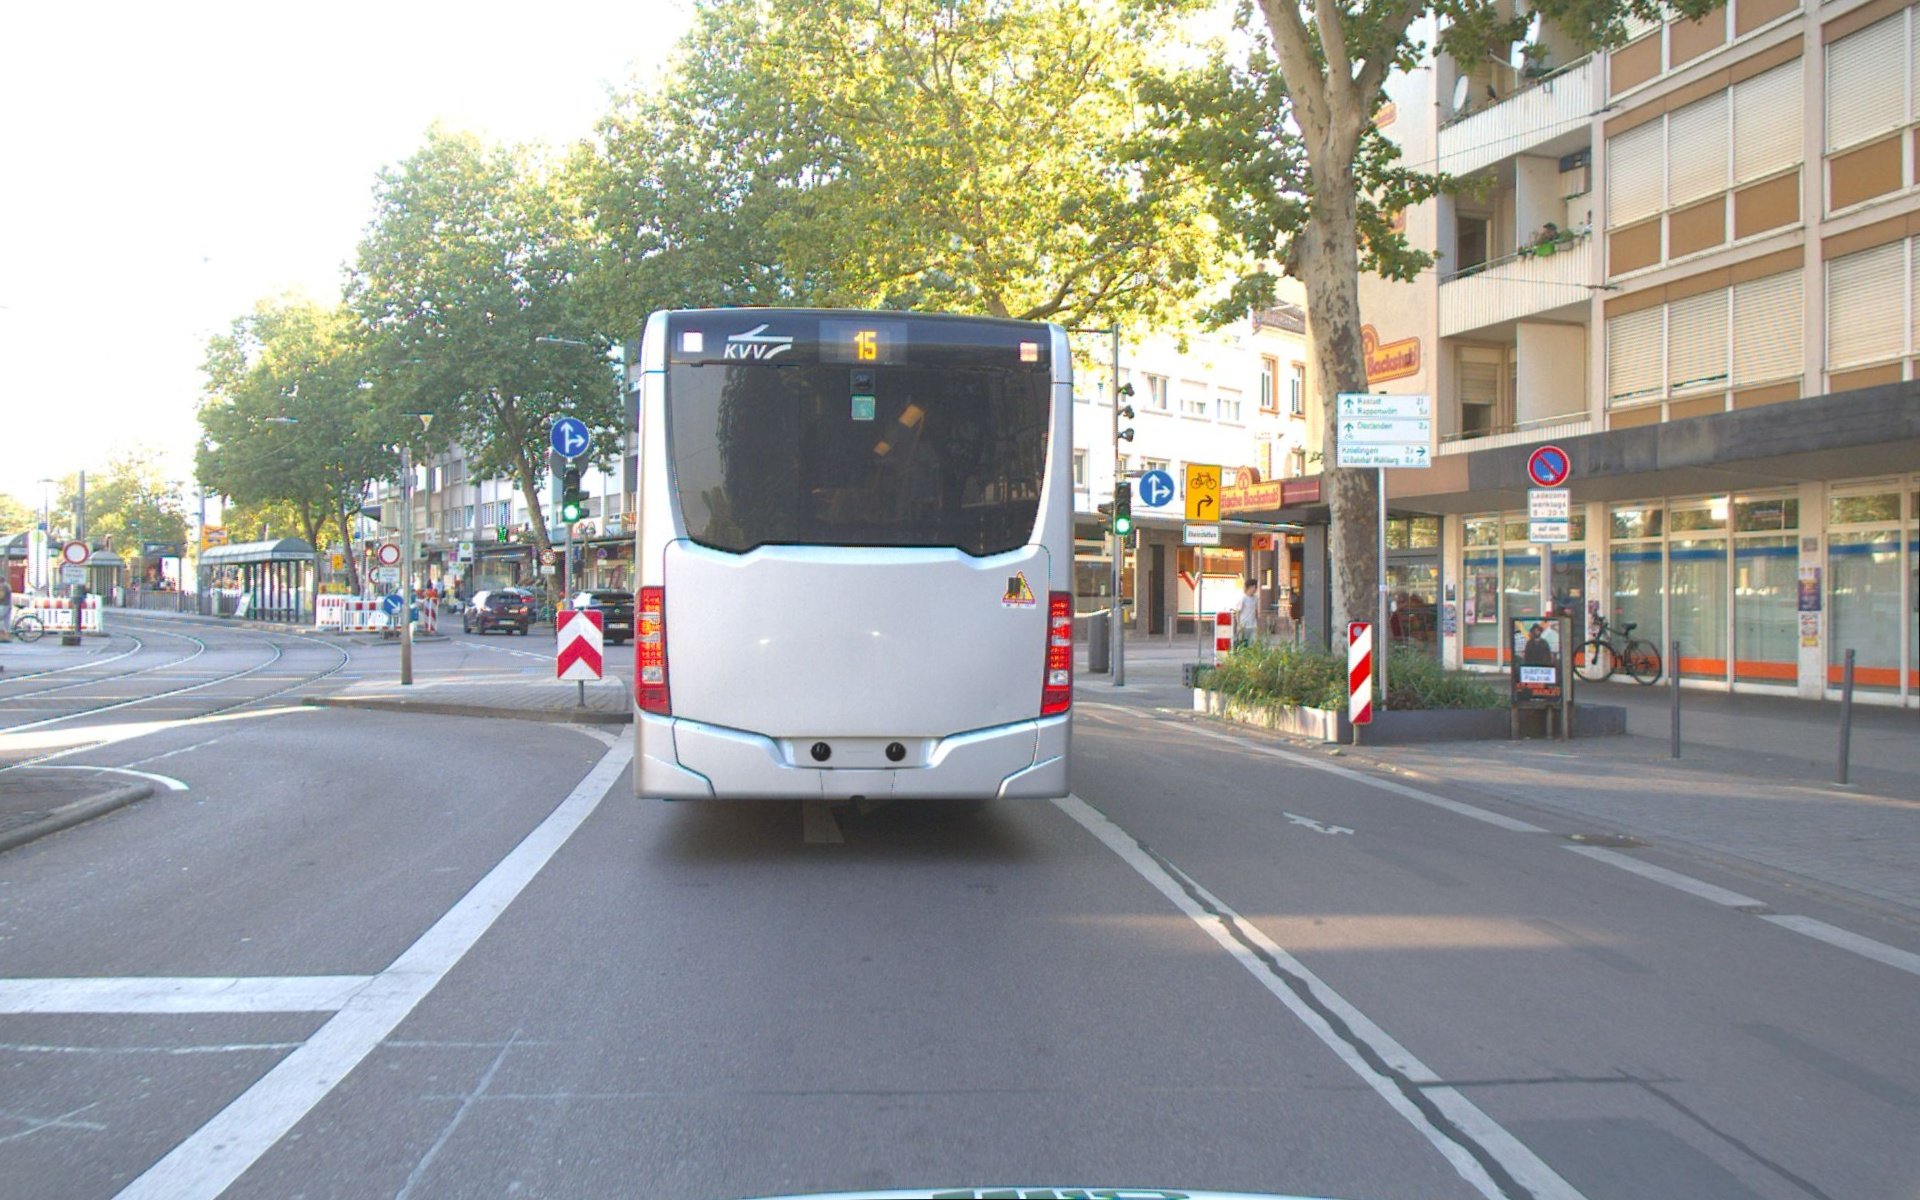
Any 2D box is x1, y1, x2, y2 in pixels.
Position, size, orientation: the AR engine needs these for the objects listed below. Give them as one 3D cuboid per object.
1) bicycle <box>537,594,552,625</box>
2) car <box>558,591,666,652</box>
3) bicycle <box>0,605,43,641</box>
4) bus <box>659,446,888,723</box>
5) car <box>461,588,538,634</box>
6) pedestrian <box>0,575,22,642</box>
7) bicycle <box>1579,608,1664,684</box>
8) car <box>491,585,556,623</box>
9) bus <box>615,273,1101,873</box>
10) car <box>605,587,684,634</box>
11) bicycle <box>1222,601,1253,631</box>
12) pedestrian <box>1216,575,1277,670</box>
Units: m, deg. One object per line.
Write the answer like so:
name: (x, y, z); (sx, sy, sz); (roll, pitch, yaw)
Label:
bicycle: (-16.908, 0.387, 67.256); (0.499, 1.232, 2.083); (0, 0, -16)
car: (-9.023, 0.507, 42.664); (1.735, 1.489, 3.964); (0, 0, -27)
bicycle: (-25.672, 0.613, 44.398); (1.827, 0.959, 0.457); (0, 0, -38)
bus: (-2.893, -0.166, 24.061); (2.608, 3.153, 10.195); (0, 0, -9)
car: (-15.517, 0.355, 55.630); (1.735, 1.489, 3.964); (0, 0, -27)
pedestrian: (-25.401, 0.225, 44.037); (0.715, 1.755, 0.394); (0, 0, -38)
bicycle: (10.295, 0.698, 25.784); (0.430, 1.111, 1.456); (-2, 1, -15)
car: (-18.598, 0.139, 70.479); (1.648, 1.494, 3.373); (-3, 3, -33)
bus: (-1.279, -0.130, 13.942); (2.608, 3.153, 10.195); (0, 0, -9)
car: (-11.358, 0.360, 59.432); (1.647, 1.543, 3.375); (-3, 2, -32)
bicycle: (10.060, 0.591, 59.845); (0.289, 1.059, 1.710); (-2, -2, 38)
pedestrian: (5.425, 0.419, 31.318); (0.823, 1.742, 0.789); (-2, 1, -20)
